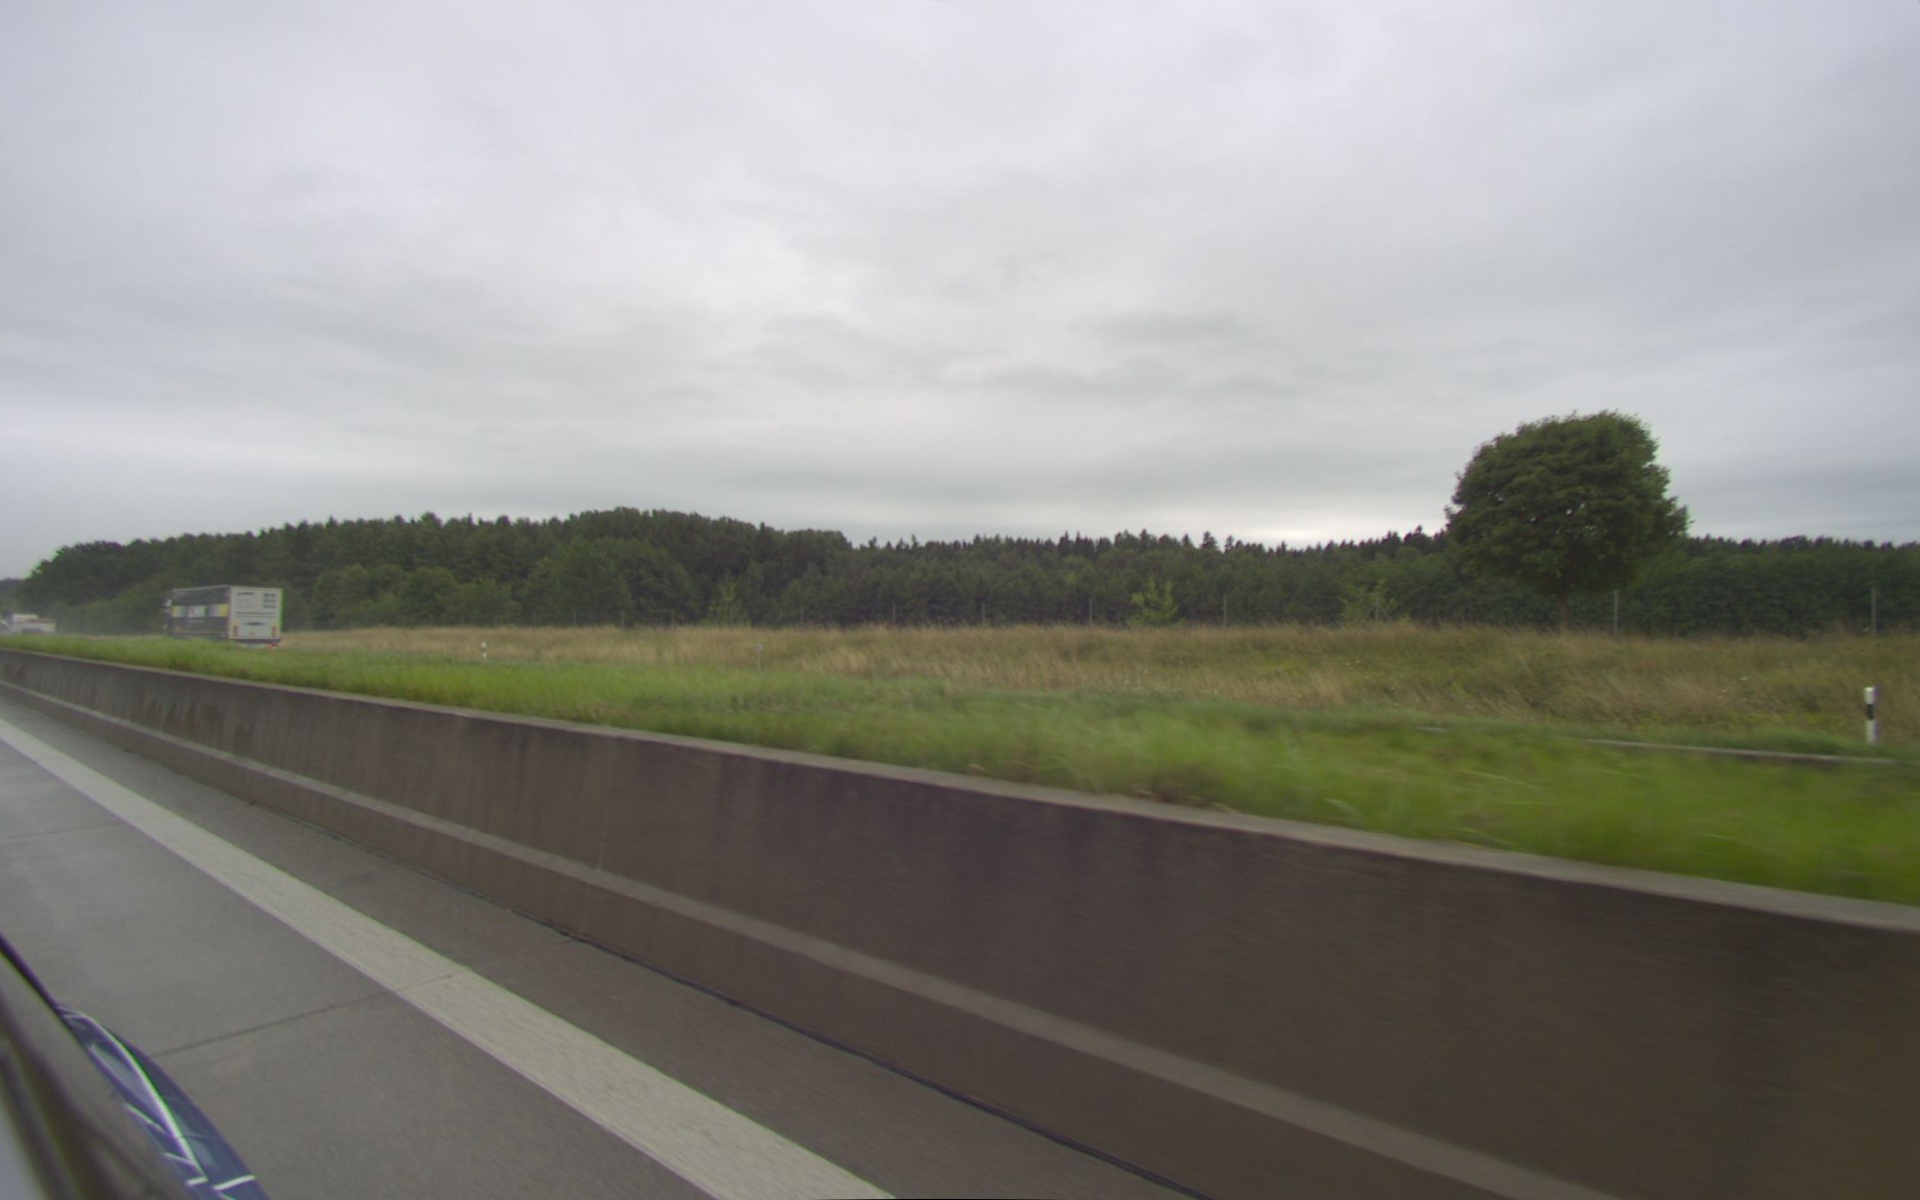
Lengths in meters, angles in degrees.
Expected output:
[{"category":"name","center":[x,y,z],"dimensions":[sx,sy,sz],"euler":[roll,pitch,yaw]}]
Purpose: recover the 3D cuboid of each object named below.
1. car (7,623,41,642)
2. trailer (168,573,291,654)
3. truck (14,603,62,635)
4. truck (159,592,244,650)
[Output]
[{"category":"car","center":[-81.566,2.829,88.177],"dimensions":[3.998,1.608,1.809],"euler":[-1,-2,41]},{"category":"trailer","center":[-43.695,0.882,60.248],"dimensions":[13.550,4.373,3.193],"euler":[-1,-2,42]},{"category":"truck","center":[-101.343,2.122,111.212],"dimensions":[6.034,3.359,3.219],"euler":[-1,-2,42]},{"category":"truck","center":[-48.213,1.340,64.286],"dimensions":[6.033,3.500,3.164],"euler":[-1,-2,41]}]
